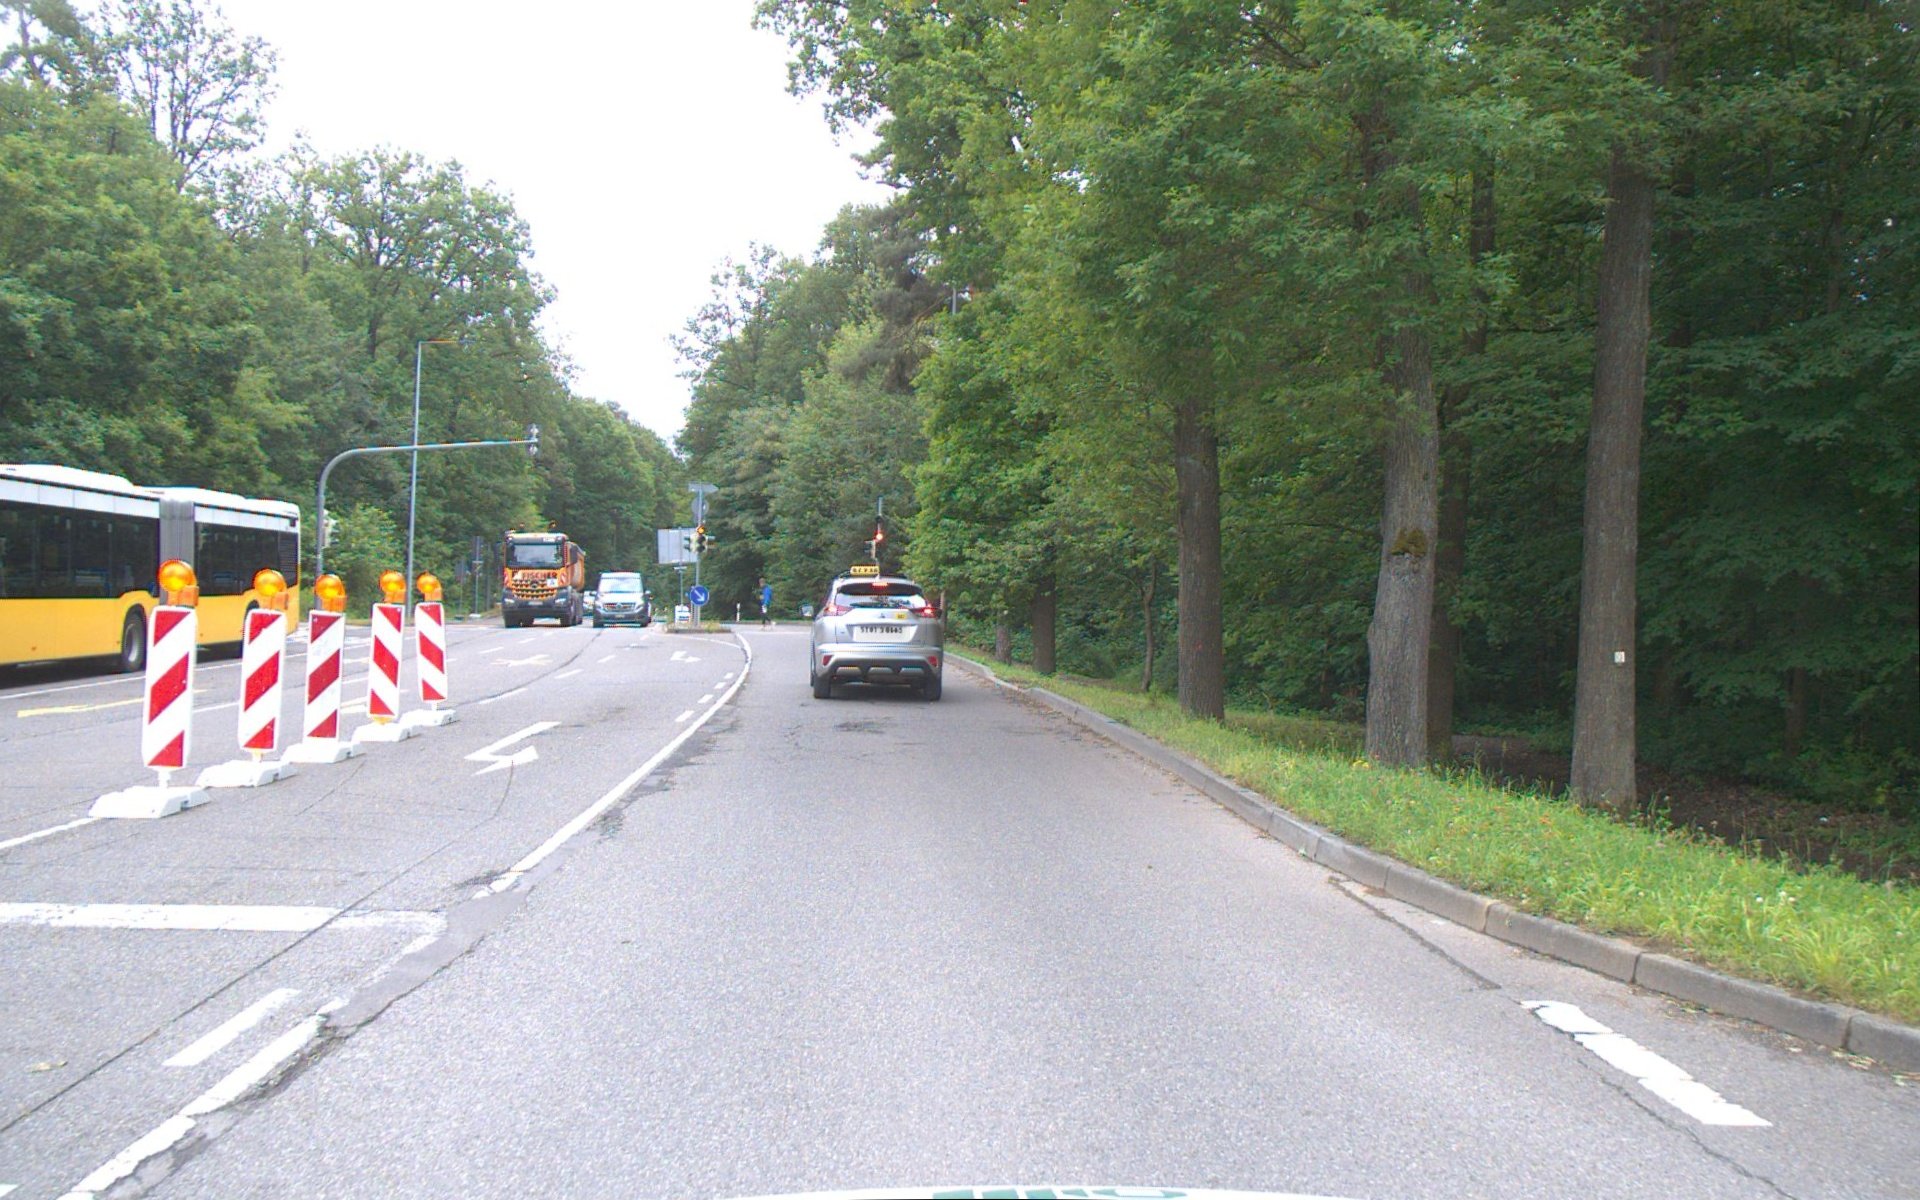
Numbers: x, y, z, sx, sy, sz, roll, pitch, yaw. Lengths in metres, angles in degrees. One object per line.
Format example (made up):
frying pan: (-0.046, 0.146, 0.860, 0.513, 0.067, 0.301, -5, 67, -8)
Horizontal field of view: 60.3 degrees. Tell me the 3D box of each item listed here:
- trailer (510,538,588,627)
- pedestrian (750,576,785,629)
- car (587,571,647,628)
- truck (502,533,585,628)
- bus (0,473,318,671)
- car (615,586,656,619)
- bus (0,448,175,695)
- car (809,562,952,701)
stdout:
trailer: (-16.537, -0.626, 66.952, 2.690, 3.376, 8.544, 0, -1, -12)
pedestrian: (-6.227, 0.080, 53.537, 1.026, 1.678, 1.068, 0, 1, -3)
car: (-12.343, -0.015, 59.754, 1.957, 1.927, 4.827, -1, 0, -10)
truck: (-15.588, -0.671, 62.248, 2.690, 3.376, 7.139, 0, -1, -12)
bus: (-14.979, -0.485, 31.564, 2.843, 3.181, 8.682, 2, 0, -6)
car: (-14.296, 0.077, 72.952, 1.582, 1.344, 3.714, -2, 1, -9)
bus: (-13.949, -0.416, 22.402, 2.843, 3.181, 9.746, 2, 0, -6)
car: (-1.220, 0.385, 23.687, 1.811, 1.811, 3.995, 0, 1, -6)
